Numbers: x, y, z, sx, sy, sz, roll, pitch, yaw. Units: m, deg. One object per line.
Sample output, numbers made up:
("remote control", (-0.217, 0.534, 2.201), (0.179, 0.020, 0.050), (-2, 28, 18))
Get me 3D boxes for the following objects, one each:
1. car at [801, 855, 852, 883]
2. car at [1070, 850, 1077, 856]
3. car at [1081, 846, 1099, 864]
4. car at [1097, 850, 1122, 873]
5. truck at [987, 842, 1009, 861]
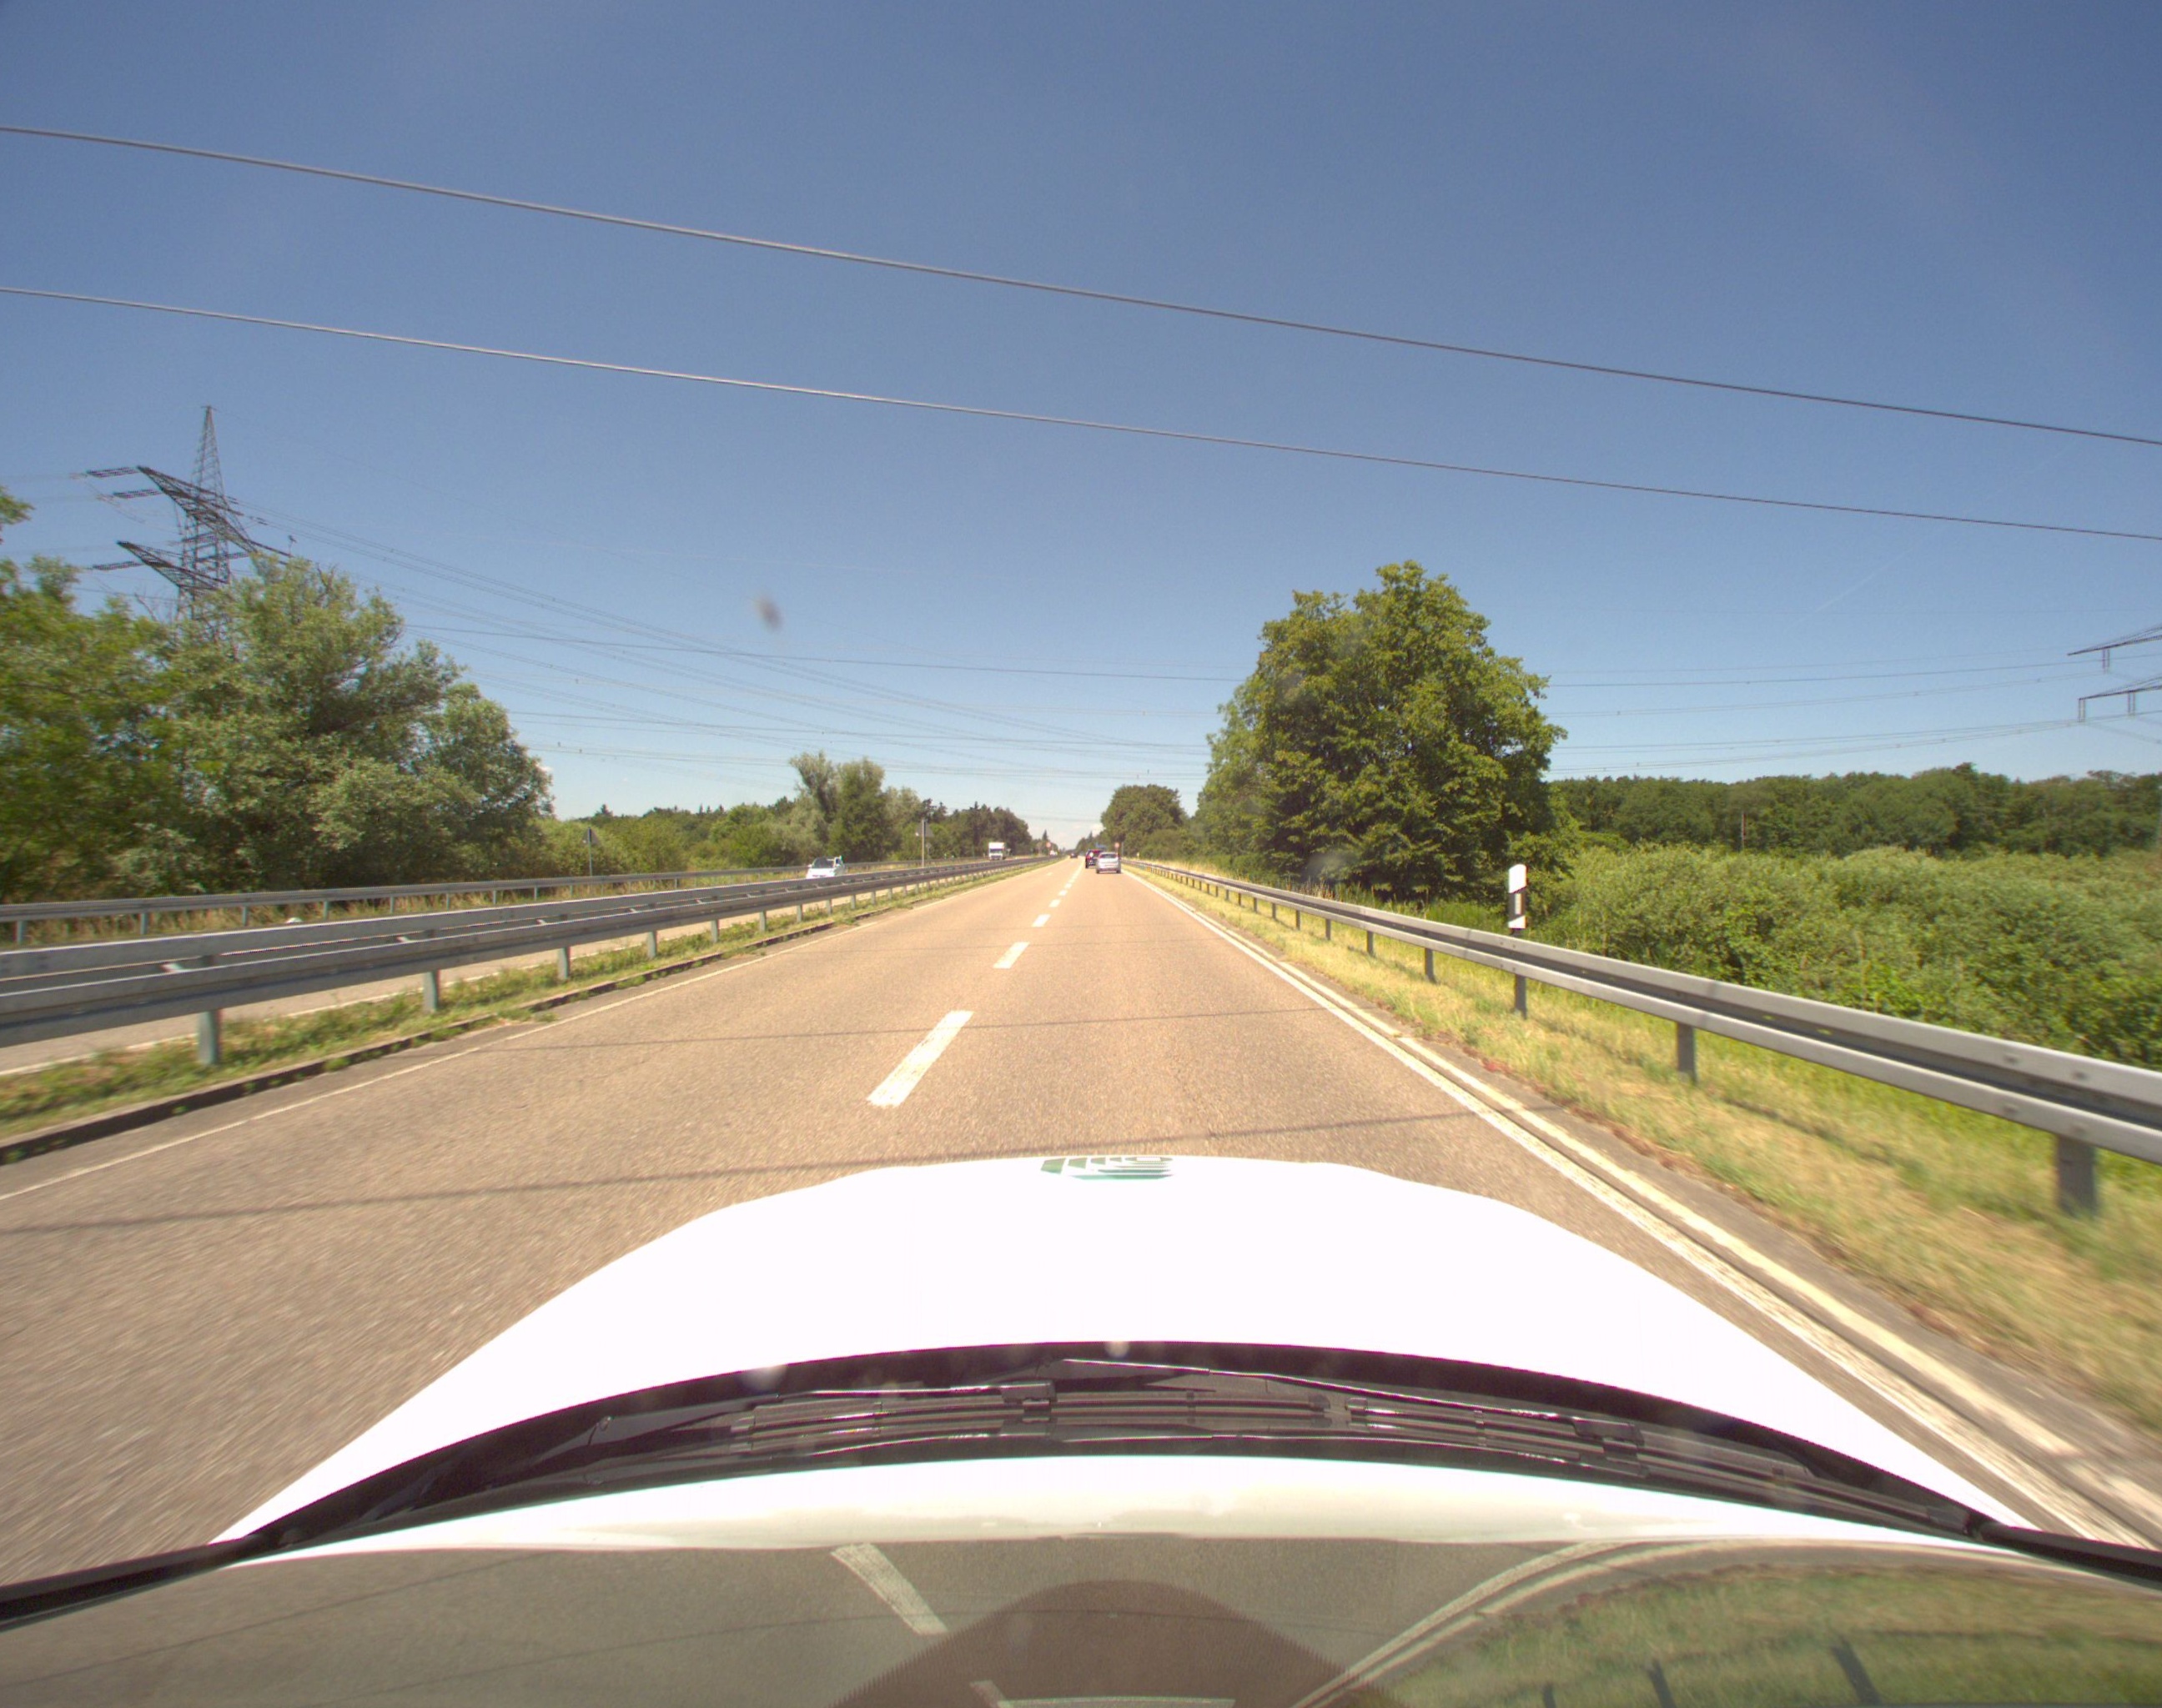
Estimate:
("car", (-13.972, 0.801, 44.917), (1.527, 1.449, 3.702), (-1, 0, 1))
("car", (-1.883, -0.177, 196.730), (1.707, 1.471, 3.573), (2, 0, 0))
("car", (0.809, 0.099, 76.368), (1.635, 1.654, 3.573), (2, 0, 0))
("car", (1.973, 0.501, 56.800), (1.635, 1.468, 3.419), (2, 0, 1))
("truck", (-14.047, -0.445, 138.635), (2.709, 3.193, 8.405), (-1, 0, 1))
